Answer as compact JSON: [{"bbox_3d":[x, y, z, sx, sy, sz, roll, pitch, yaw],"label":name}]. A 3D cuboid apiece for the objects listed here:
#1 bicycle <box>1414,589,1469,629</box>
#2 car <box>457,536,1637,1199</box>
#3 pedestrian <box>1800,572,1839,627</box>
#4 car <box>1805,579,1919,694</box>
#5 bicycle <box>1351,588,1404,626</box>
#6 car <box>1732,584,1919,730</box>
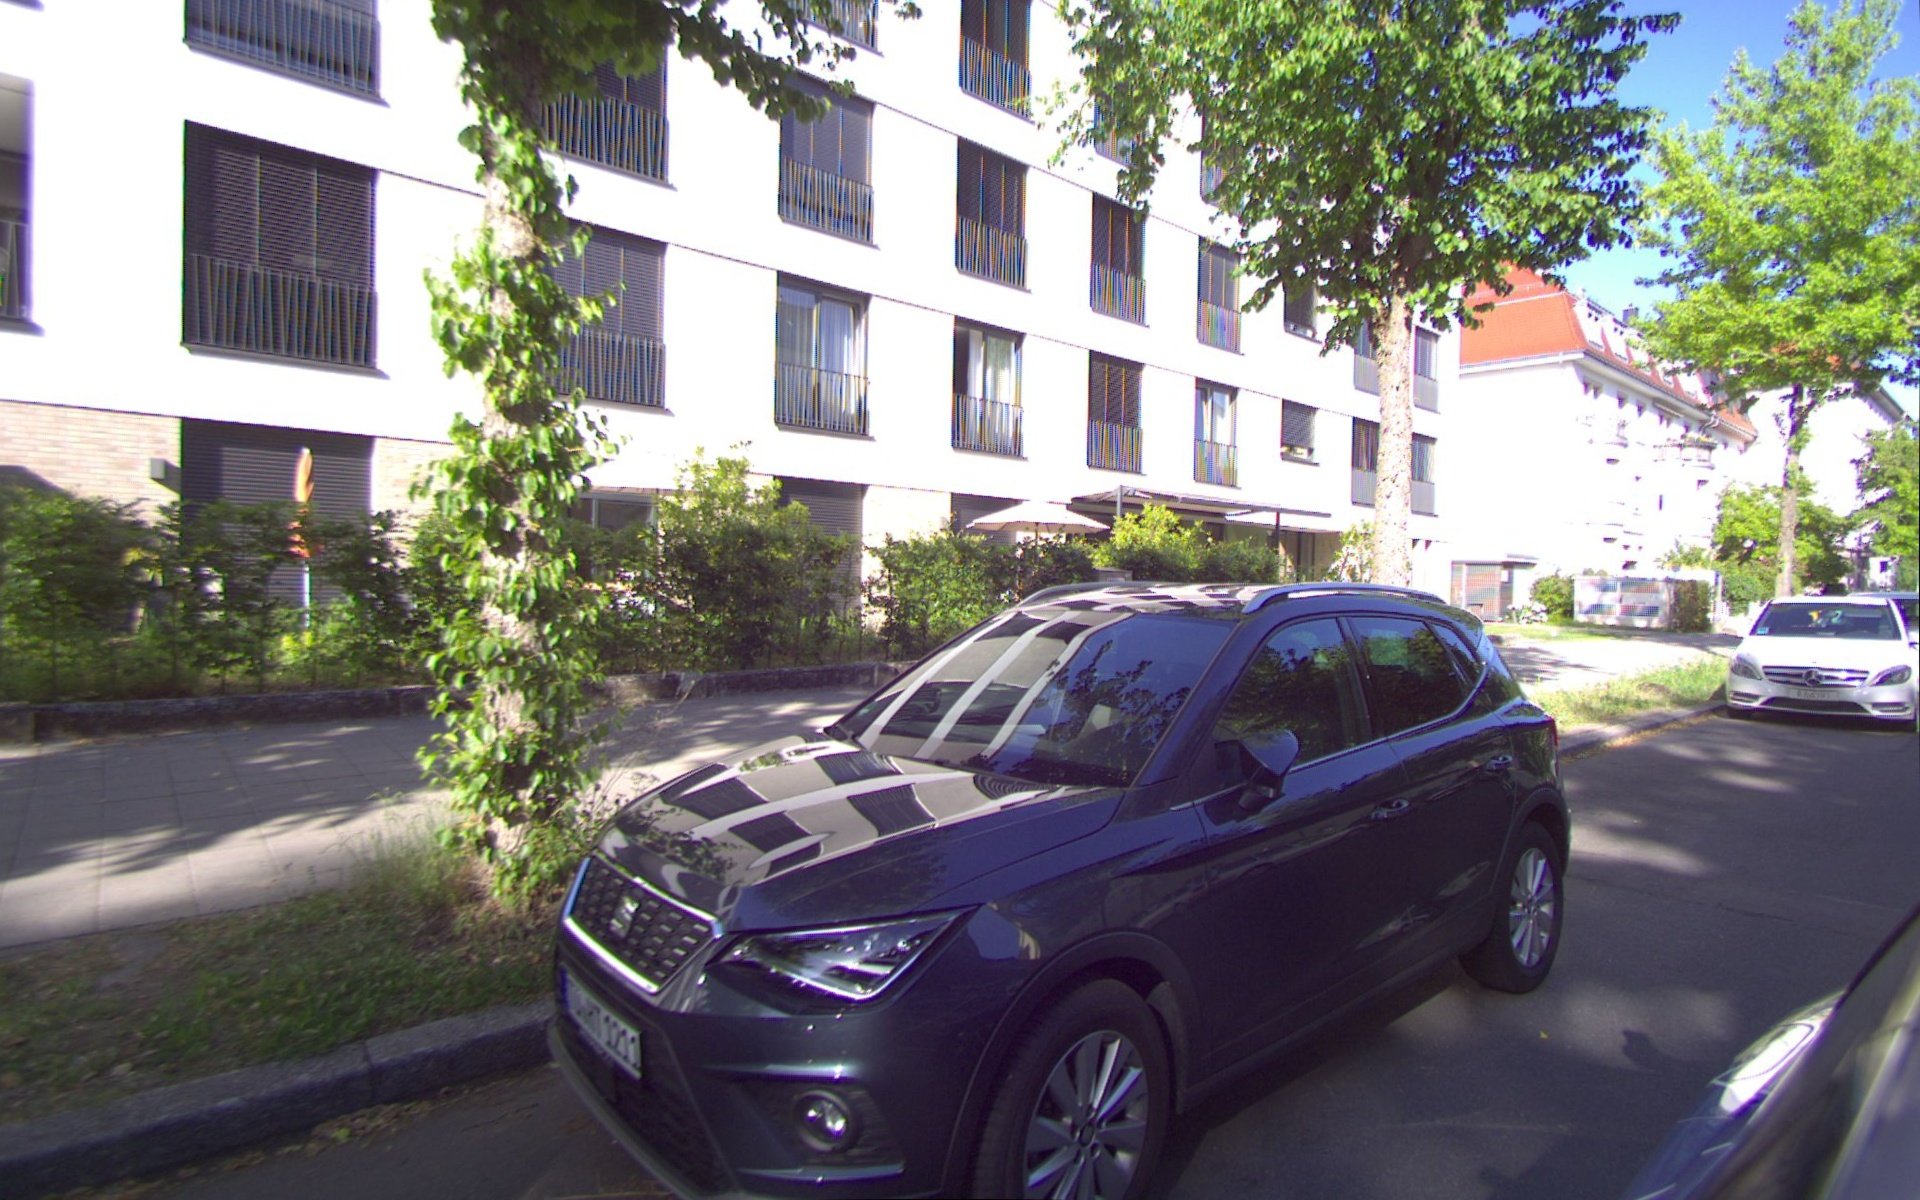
[{"bbox_3d":[11.445,0.201,24.042,1.581,0.905,0.564,0,1,-41],"label":"bicycle"},{"bbox_3d":[0.734,0.648,3.632,4.268,1.535,1.721,0,1,-41],"label":"car"},{"bbox_3d":[32.466,-0.021,38.236,0.988,2.038,0.907,0,2,-41],"label":"pedestrian"},{"bbox_3d":[15.690,0.530,16.621,4.774,1.668,1.902,0,1,-39],"label":"car"},{"bbox_3d":[10.408,0.164,25.200,1.581,0.905,0.564,0,1,-41],"label":"bicycle"},{"bbox_3d":[11.369,0.593,12.958,1.782,1.537,4.612,2,1,45],"label":"car"}]
